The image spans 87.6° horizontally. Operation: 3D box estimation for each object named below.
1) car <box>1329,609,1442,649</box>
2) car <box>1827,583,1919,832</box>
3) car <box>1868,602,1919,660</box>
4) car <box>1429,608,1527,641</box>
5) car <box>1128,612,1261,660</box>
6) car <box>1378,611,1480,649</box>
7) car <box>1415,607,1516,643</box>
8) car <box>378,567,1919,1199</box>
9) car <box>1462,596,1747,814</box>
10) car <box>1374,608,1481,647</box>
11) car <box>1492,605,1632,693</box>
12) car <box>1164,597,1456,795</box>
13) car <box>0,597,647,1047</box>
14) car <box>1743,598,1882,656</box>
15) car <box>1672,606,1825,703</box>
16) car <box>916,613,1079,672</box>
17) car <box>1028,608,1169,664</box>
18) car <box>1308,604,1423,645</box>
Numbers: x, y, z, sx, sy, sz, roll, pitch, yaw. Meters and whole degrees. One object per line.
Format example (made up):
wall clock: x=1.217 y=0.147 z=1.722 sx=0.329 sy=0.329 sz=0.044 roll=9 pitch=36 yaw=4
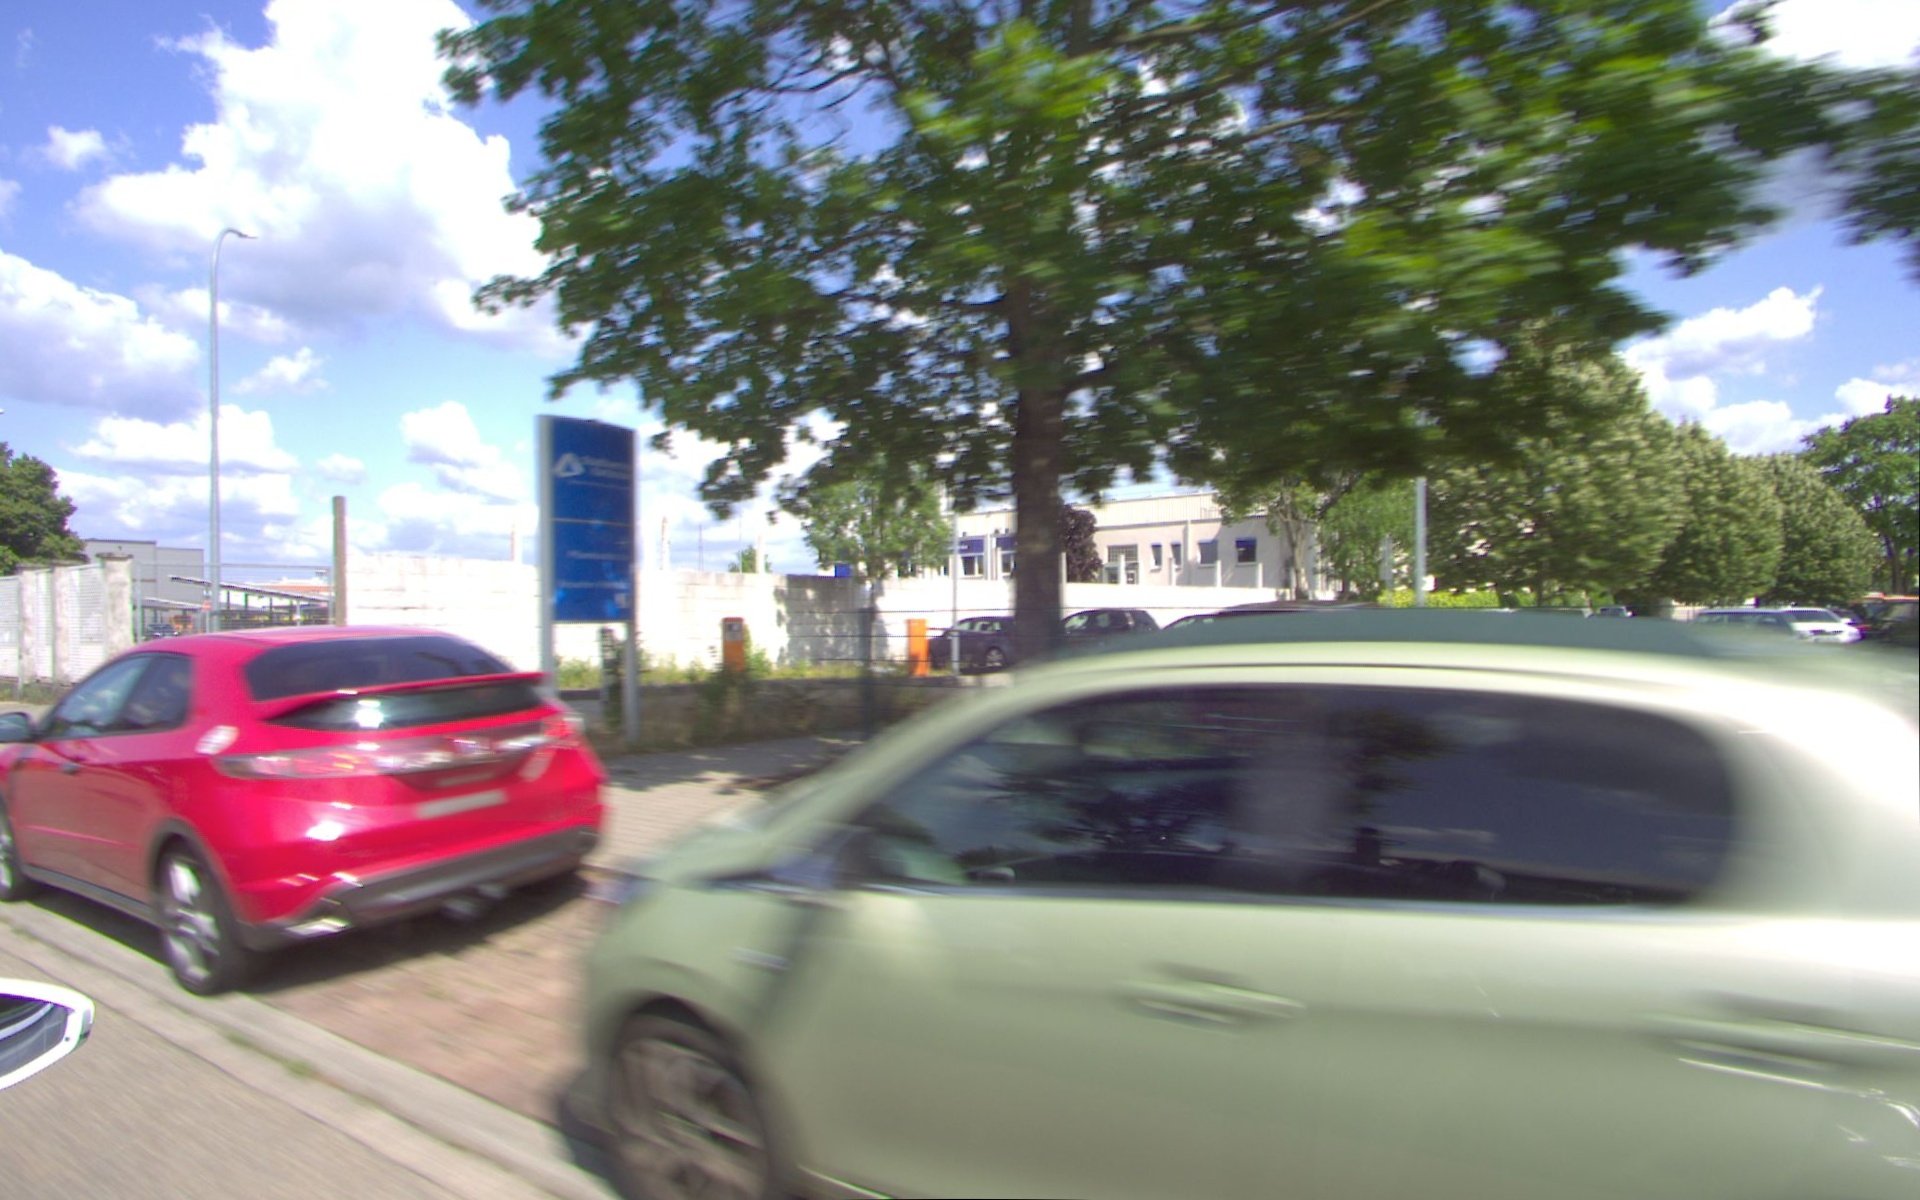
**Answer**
car: x=17.639 y=1.216 z=41.631 sx=1.721 sy=1.569 sz=3.966 roll=0 pitch=-2 yaw=-41
car: x=8.015 y=0.701 z=7.435 sx=1.884 sy=1.658 sz=3.865 roll=-1 pitch=-1 yaw=34
car: x=27.772 y=0.896 z=28.311 sx=1.968 sy=1.576 sz=3.989 roll=-1 pitch=-3 yaw=25
car: x=25.676 y=1.251 z=49.737 sx=1.734 sy=1.569 sz=3.966 roll=0 pitch=-2 yaw=-41
car: x=7.702 y=1.189 z=33.072 sx=3.953 sy=1.473 sz=1.647 roll=-2 pitch=-2 yaw=40
car: x=20.459 y=1.319 z=43.746 sx=1.761 sy=1.569 sz=3.620 roll=0 pitch=-2 yaw=-43
car: x=23.943 y=1.239 z=47.506 sx=1.892 sy=1.613 sz=3.851 roll=2 pitch=-3 yaw=-43
car: x=0.476 y=0.745 z=2.634 sx=3.749 sy=1.507 sz=1.697 roll=-1 pitch=2 yaw=28
car: x=6.107 y=0.813 z=9.561 sx=1.884 sy=1.614 sz=3.865 roll=-1 pitch=-1 yaw=34
car: x=20.471 y=1.254 z=43.964 sx=1.892 sy=1.613 sz=3.851 roll=2 pitch=-3 yaw=-43
car: x=10.825 y=0.834 z=18.255 sx=1.982 sy=1.414 sz=3.751 roll=-1 pitch=-1 yaw=28
car: x=3.824 y=0.816 z=10.434 sx=1.884 sy=1.614 sz=4.199 roll=-1 pitch=-1 yaw=34
car: x=-3.783 y=0.811 z=5.393 sx=4.167 sy=1.507 sz=1.748 roll=-1 pitch=2 yaw=34
car: x=25.001 y=0.842 z=29.571 sx=1.967 sy=1.576 sz=4.271 roll=0 pitch=-3 yaw=24
car: x=13.113 y=0.838 z=16.791 sx=1.820 sy=1.414 sz=3.990 roll=-1 pitch=-1 yaw=37
car: x=0.885 y=1.080 z=25.564 sx=1.624 sy=1.352 sz=4.151 roll=-2 pitch=-1 yaw=-44
car: x=4.077 y=1.073 z=29.955 sx=1.723 sy=1.569 sz=3.961 roll=0 pitch=-2 yaw=-44
car: x=16.326 y=1.001 z=40.418 sx=1.722 sy=1.569 sz=3.965 roll=0 pitch=-2 yaw=-42
